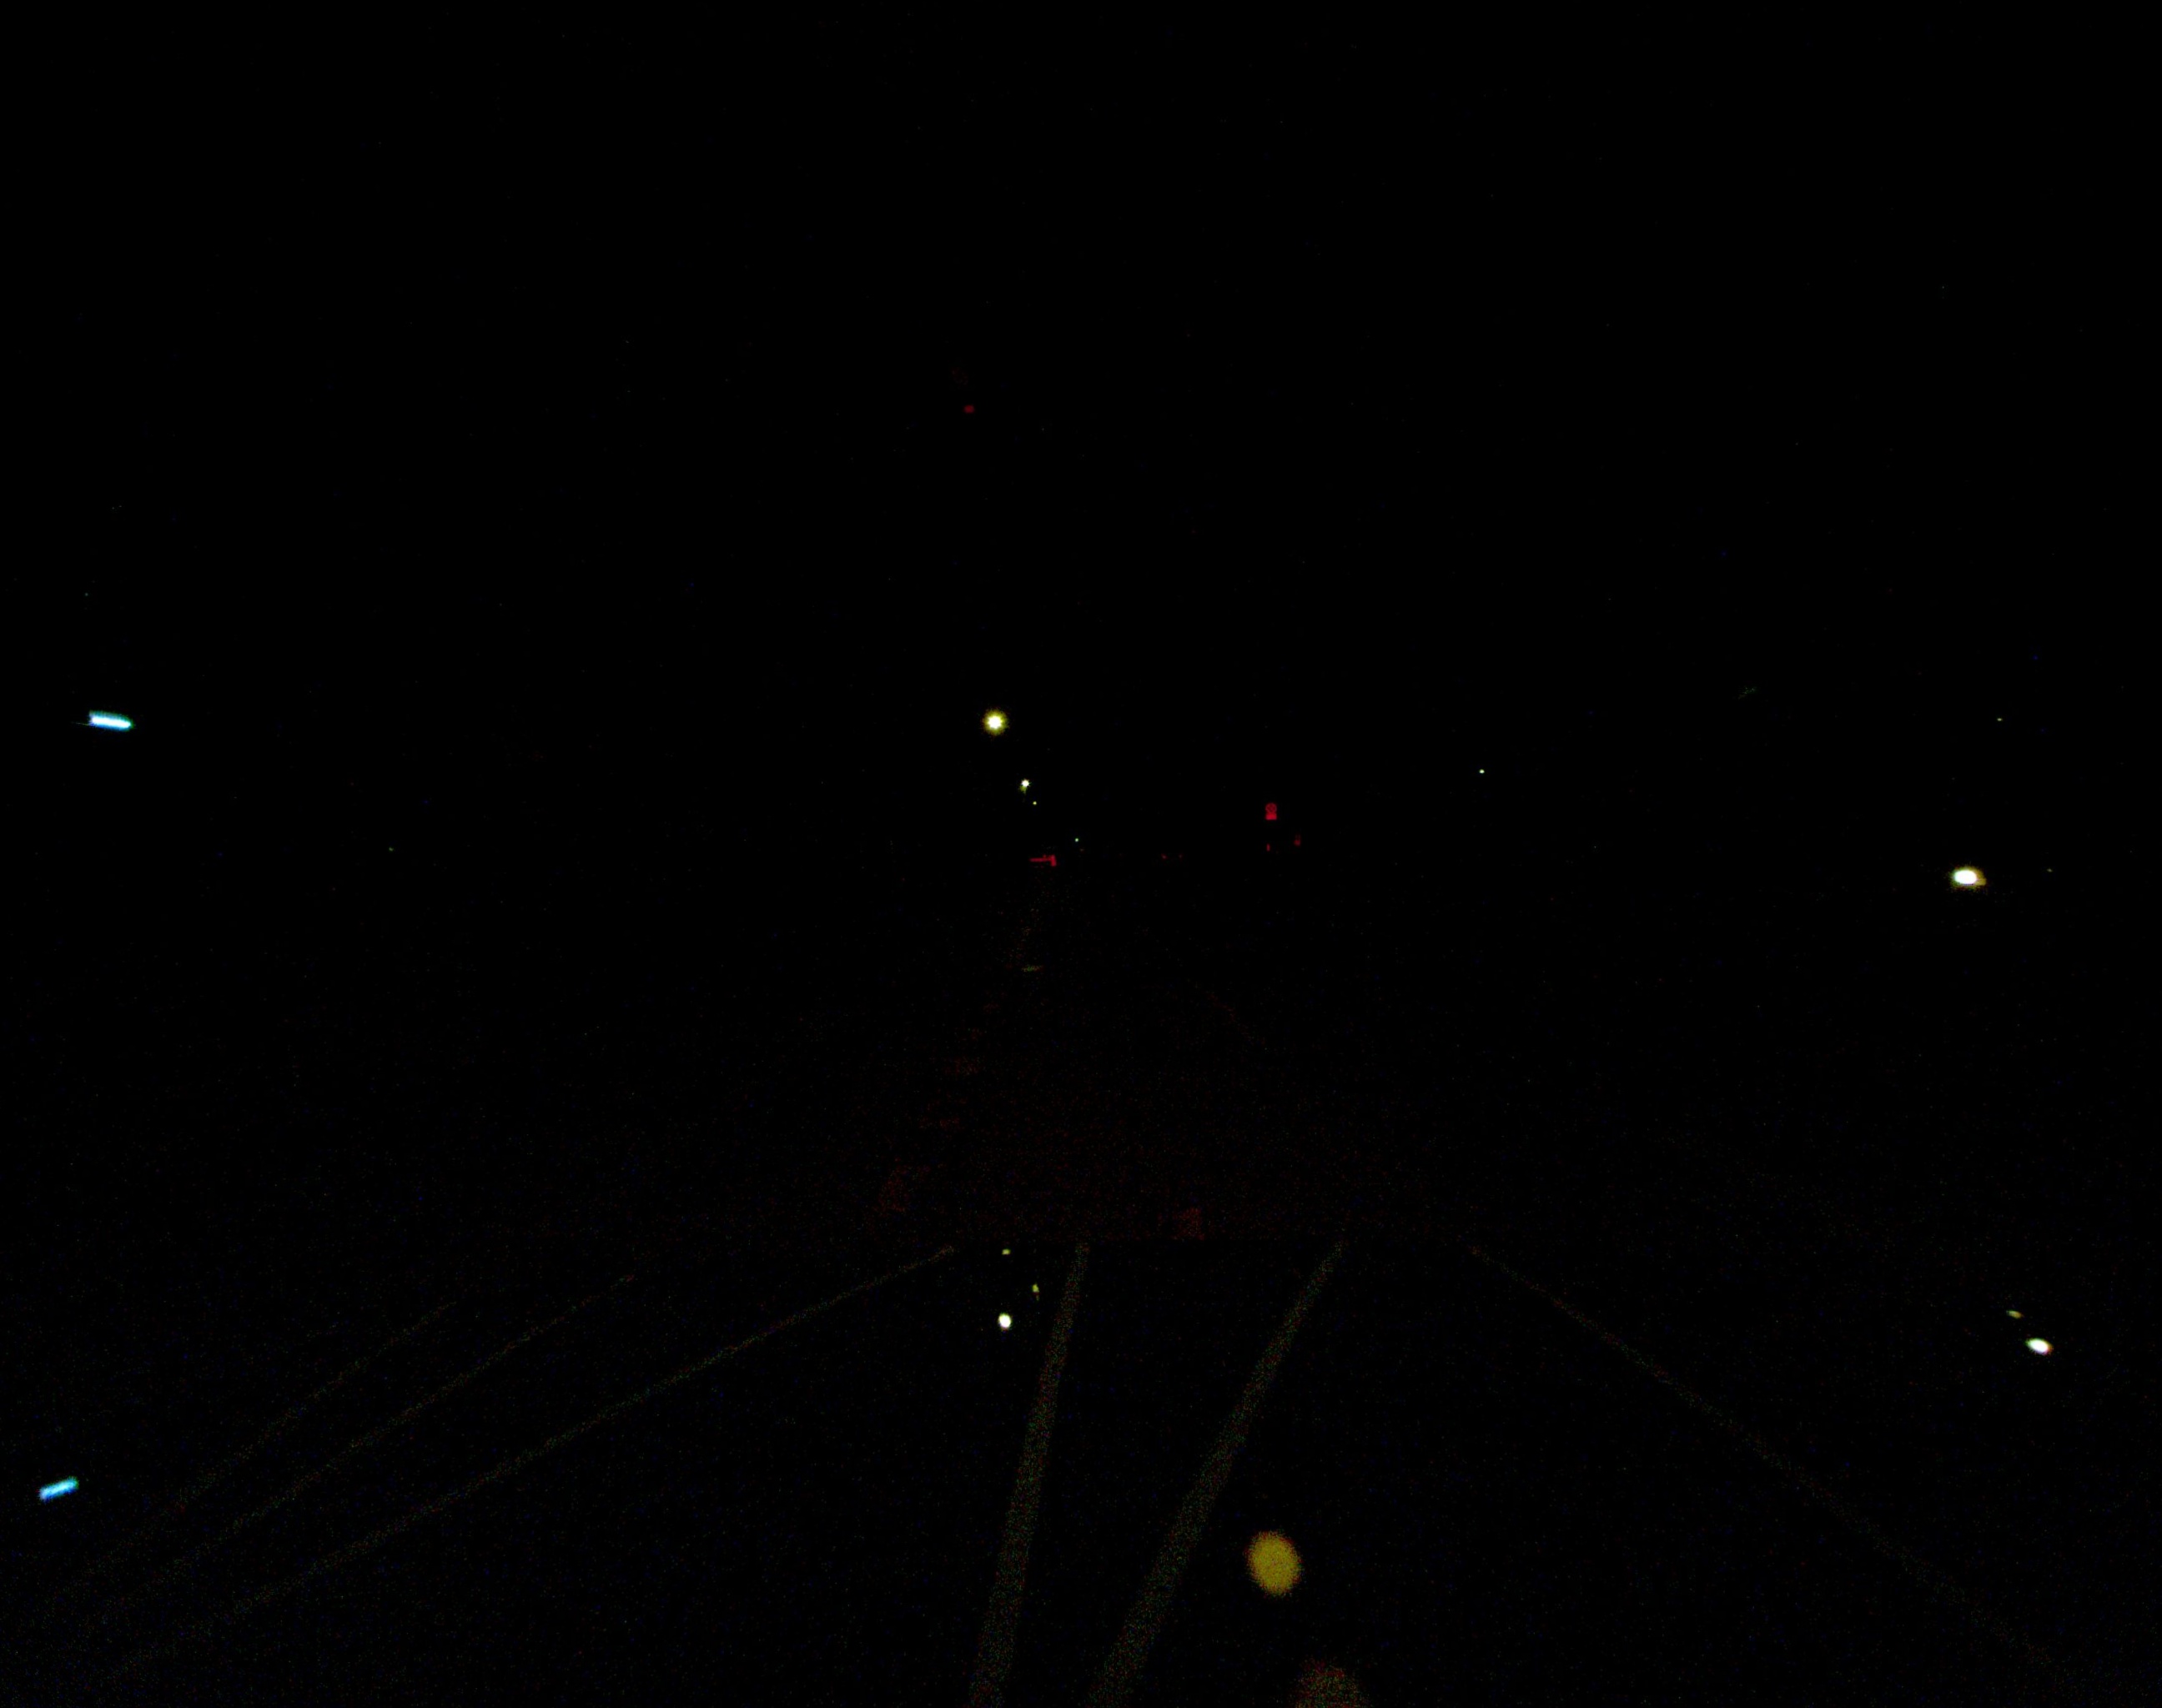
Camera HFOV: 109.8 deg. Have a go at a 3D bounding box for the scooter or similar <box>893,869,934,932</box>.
[{"bbox_3d":[-3.582,0.964,16.331,0.570,1.271,1.391,0,0,0],"label":"scooter or similar"}]

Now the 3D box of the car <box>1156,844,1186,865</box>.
[{"bbox_3d":[7.218,-0.022,61.009,1.911,1.445,3.999,-3,2,1],"label":"car"}]

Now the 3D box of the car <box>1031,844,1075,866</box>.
[{"bbox_3d":[-2.586,0.088,70.808,3.997,1.821,1.912,-3,2,0],"label":"car"}]

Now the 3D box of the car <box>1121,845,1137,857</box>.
[{"bbox_3d":[6.361,-0.395,100.474,1.911,1.445,3.999,-3,2,1],"label":"car"}]

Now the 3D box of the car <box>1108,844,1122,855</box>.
[{"bbox_3d":[5.180,-0.739,116.697,1.911,1.445,3.999,-3,2,1],"label":"car"}]

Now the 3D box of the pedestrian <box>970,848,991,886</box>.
[{"bbox_3d":[-4.816,0.616,36.450,0.824,1.809,0.608,-3,2,1],"label":"pedestrian"}]
